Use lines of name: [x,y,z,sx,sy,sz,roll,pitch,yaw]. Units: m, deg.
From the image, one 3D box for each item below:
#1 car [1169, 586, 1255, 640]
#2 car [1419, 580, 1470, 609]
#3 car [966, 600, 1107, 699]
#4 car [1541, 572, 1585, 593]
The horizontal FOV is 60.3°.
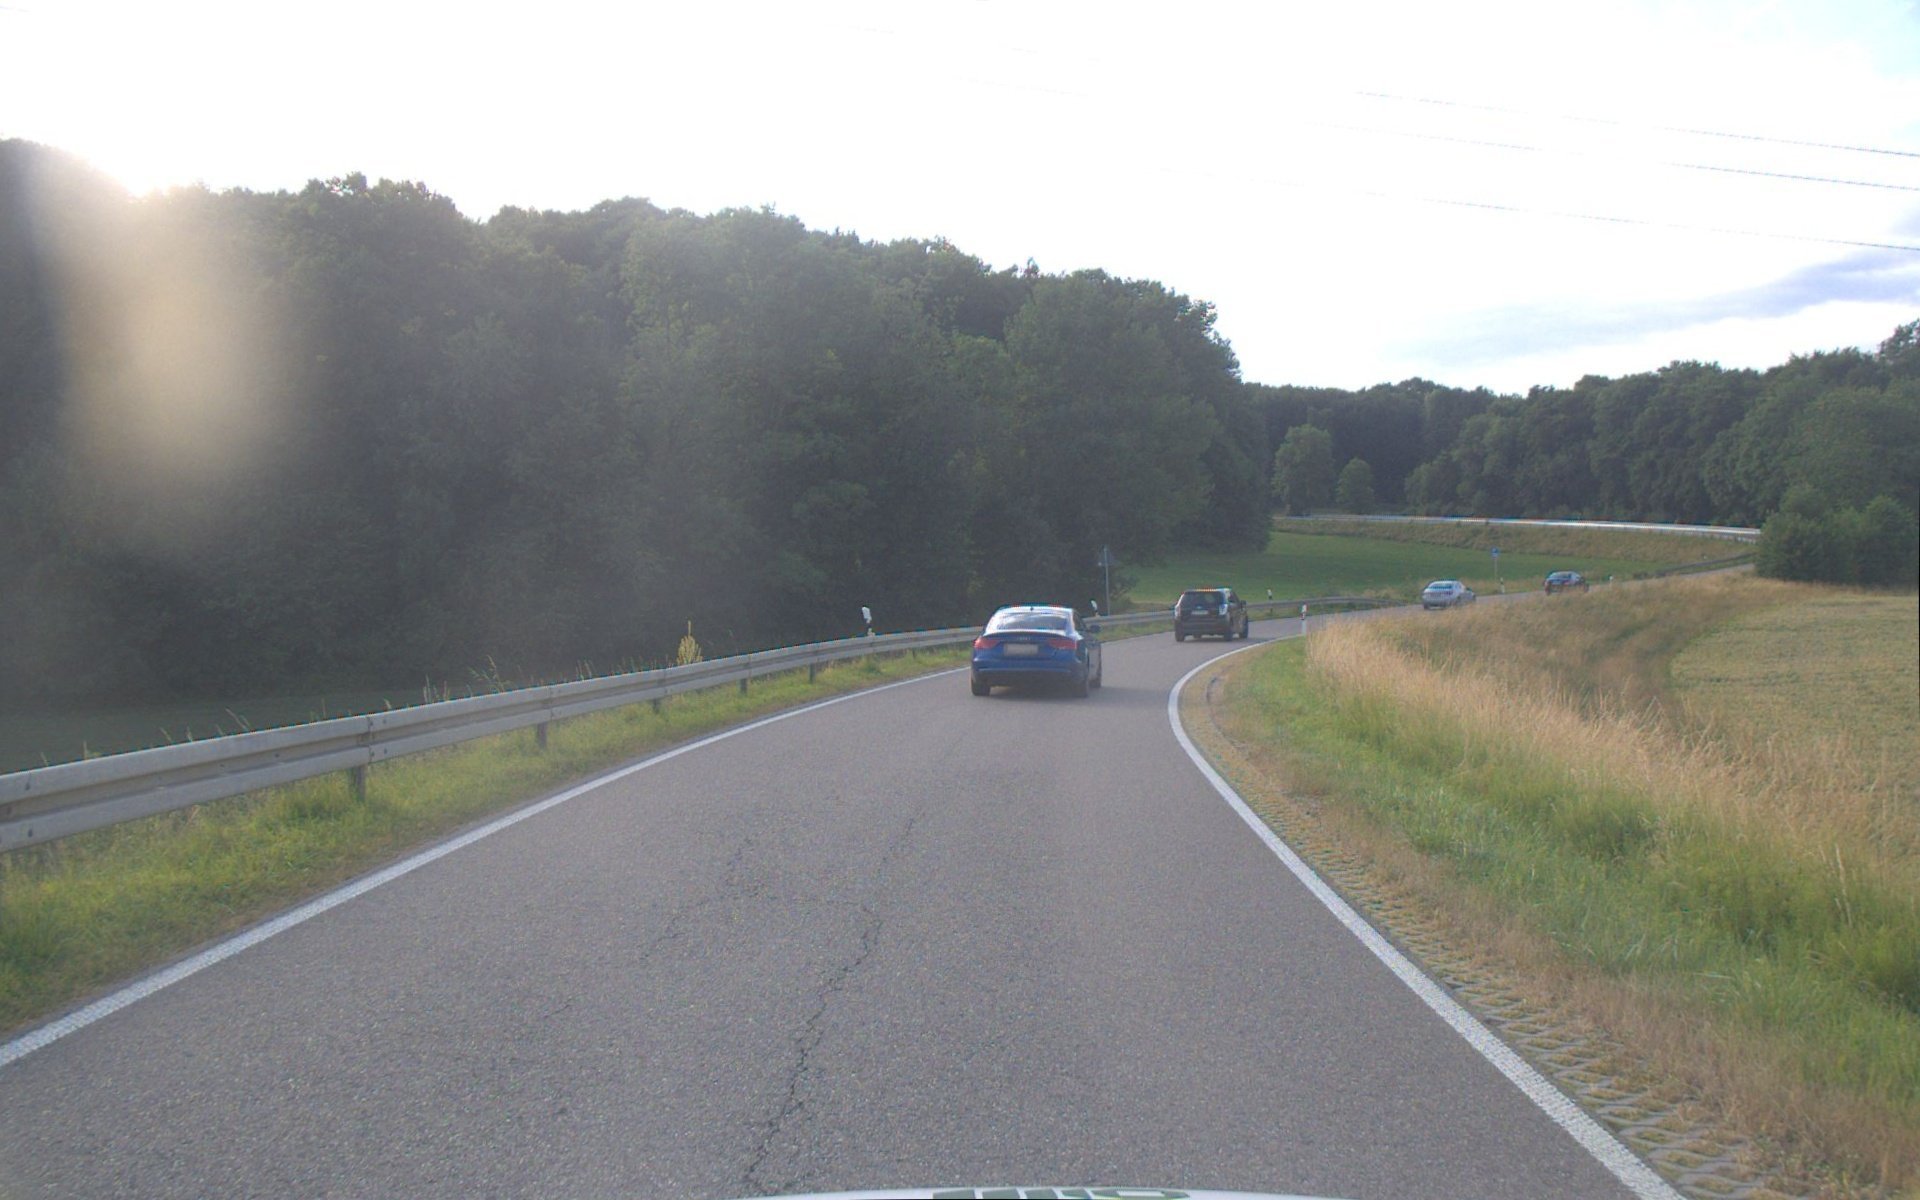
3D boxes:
car: [7.968,0.382,51.971,1.823,1.596,4.000,-1,0,21]
car: [25.215,-0.295,86.027,1.650,1.400,3.993,-3,-1,29]
car: [1.308,0.728,26.489,1.780,1.362,4.354,1,1,9]
car: [38.312,-1.116,105.091,1.450,1.248,3.279,-4,-1,43]
